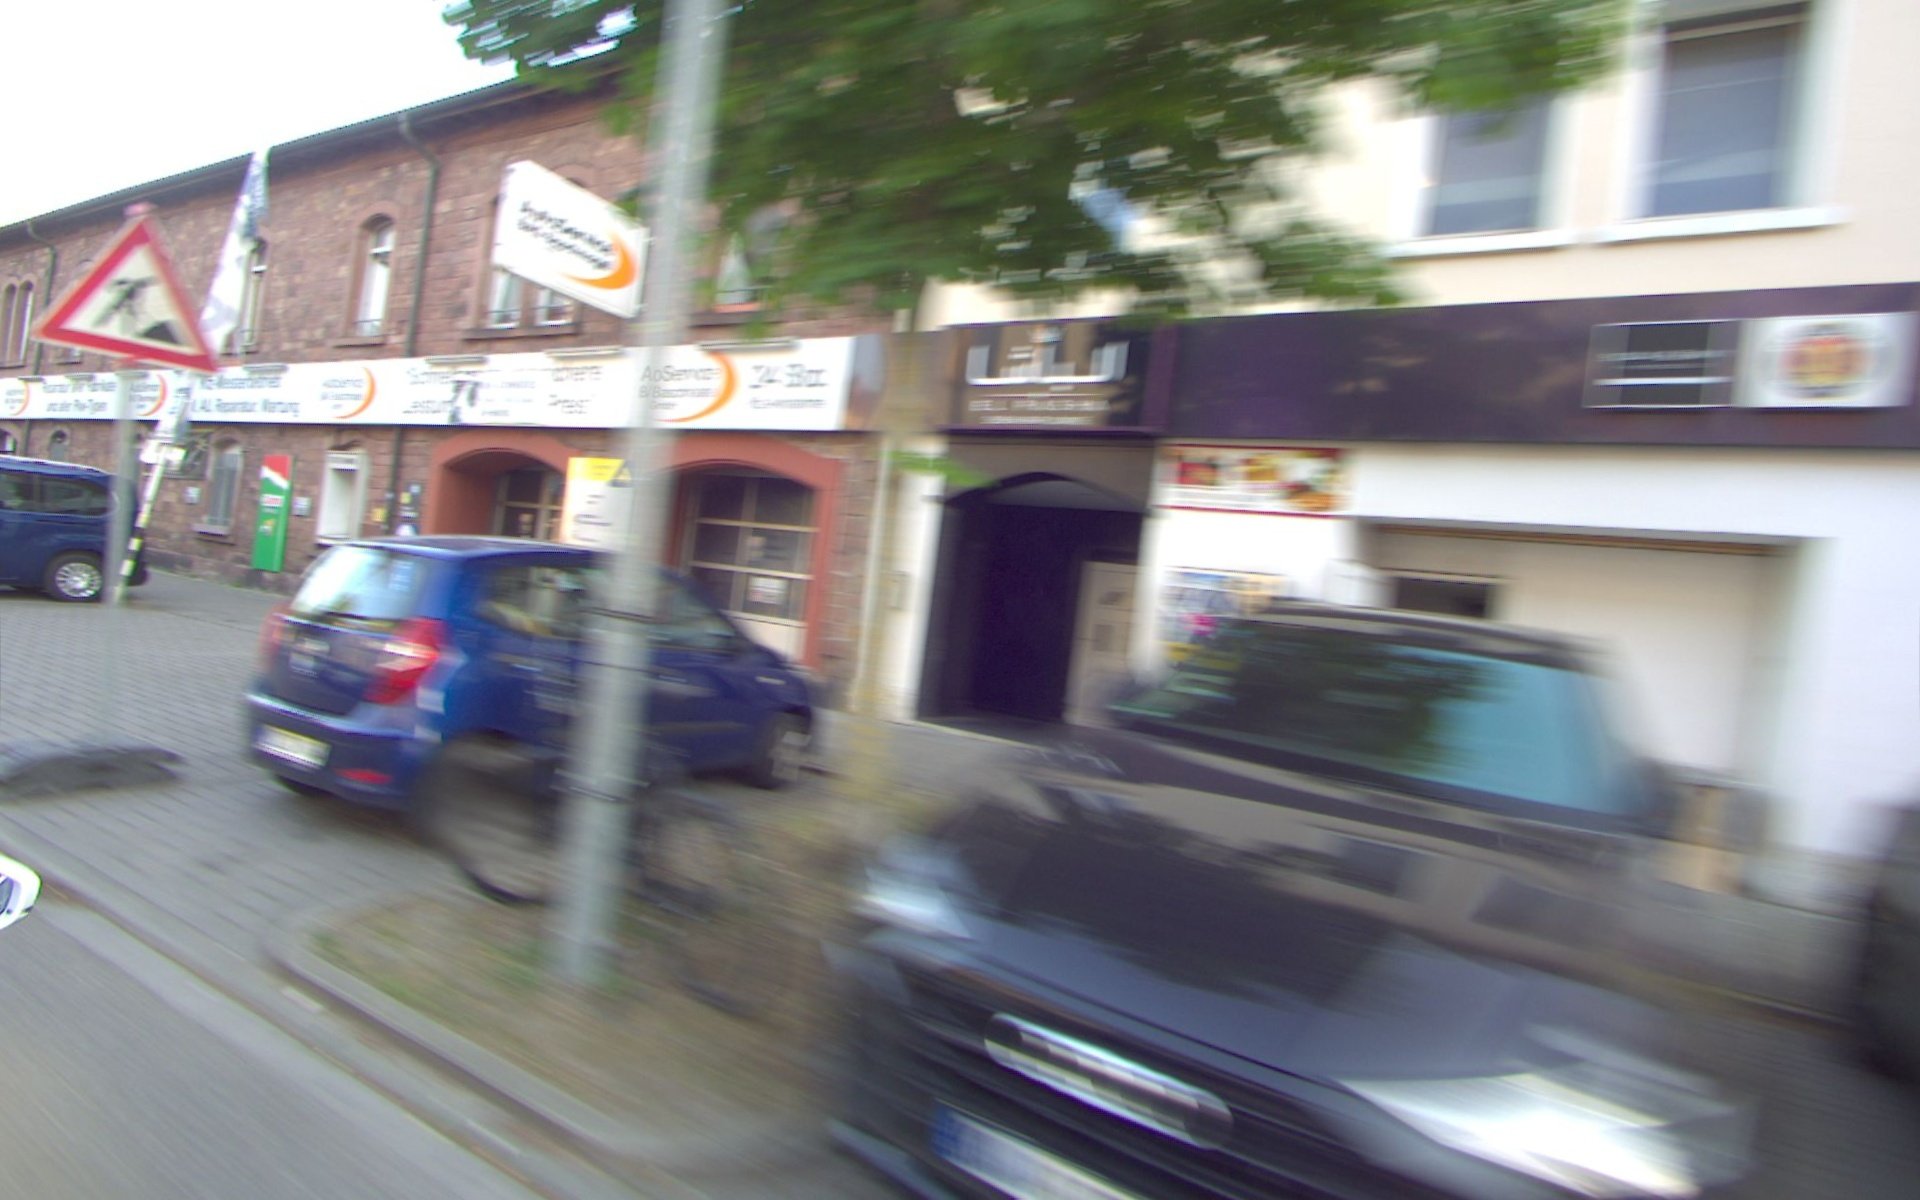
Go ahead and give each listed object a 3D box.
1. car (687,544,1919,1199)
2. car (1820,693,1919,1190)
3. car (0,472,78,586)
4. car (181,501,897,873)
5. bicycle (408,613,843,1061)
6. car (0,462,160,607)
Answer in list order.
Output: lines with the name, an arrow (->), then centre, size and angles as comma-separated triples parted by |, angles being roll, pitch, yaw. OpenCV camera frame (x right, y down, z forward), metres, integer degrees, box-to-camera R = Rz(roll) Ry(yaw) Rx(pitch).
car -> 1.503, 0.864, 3.741 | 1.967, 1.653, 4.694 | 7, 2, 32
car -> 3.742, 1.213, 2.402 | 1.861, 1.516, 3.986 | 7, 2, 32
car -> -15.477, -1.189, 13.972 | 1.947, 1.596, 4.418 | 8, 2, 29
car -> -2.337, 0.397, 6.621 | 1.814, 1.566, 3.988 | 7, 2, 30
bicycle -> -1.285, 0.750, 3.671 | 1.732, 1.206, 0.309 | 7, -1, 30
car -> -13.255, -0.968, 12.461 | 1.983, 1.777, 4.790 | 8, 2, 29
